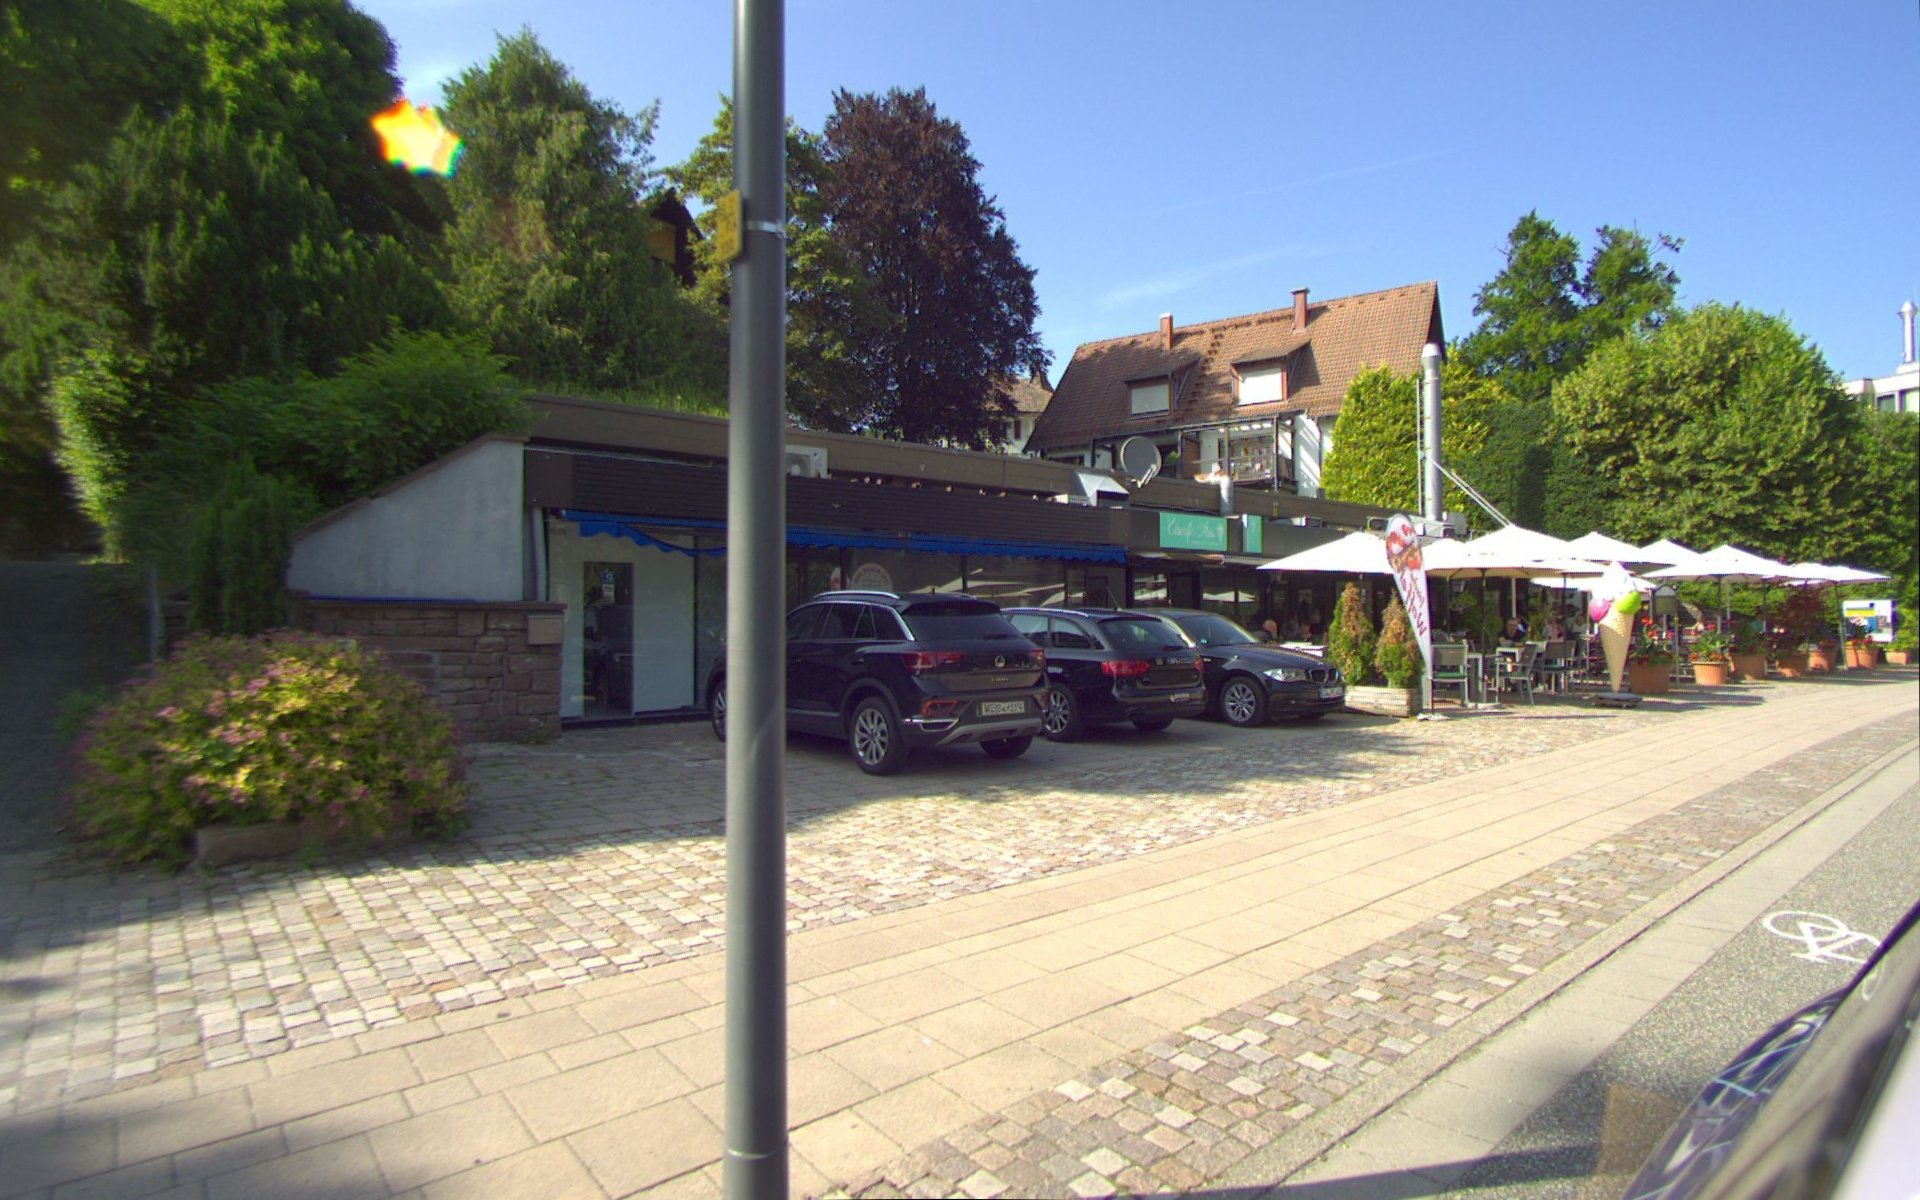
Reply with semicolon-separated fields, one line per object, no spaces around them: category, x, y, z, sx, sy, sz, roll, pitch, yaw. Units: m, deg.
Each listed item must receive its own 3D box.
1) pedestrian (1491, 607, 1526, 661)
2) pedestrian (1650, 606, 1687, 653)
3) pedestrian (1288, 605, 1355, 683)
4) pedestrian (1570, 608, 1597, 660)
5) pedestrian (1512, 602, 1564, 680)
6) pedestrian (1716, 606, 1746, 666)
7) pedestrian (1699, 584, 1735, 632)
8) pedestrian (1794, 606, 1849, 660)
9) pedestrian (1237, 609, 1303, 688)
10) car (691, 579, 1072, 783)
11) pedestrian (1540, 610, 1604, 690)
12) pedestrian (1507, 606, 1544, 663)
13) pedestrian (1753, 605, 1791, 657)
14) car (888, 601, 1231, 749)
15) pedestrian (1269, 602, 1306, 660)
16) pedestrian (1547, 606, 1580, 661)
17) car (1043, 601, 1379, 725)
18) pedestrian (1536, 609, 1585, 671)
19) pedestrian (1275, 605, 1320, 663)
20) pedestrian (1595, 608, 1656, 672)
pedestrian;13.562;0.822;25.024;0.629;1.298;0.578;1;0;14
pedestrian;19.174;0.801;27.375;0.685;1.247;0.509;1;0;-20
pedestrian;6.103;0.727;17.108;0.795;1.277;0.702;0;-1;-13
pedestrian;15.503;0.838;25.181;0.433;1.281;0.469;1;0;-43
pedestrian;10.594;0.731;18.564;0.692;1.399;0.807;0;-1;20
pedestrian;16.574;0.765;21.762;0.470;1.261;0.586;0;1;34
pedestrian;20.181;0.208;26.980;0.585;1.253;0.507;1;0;10
pedestrian;21.443;0.806;25.186;0.634;1.300;0.950;1;0;-41
pedestrian;5.169;0.787;16.899;0.795;1.277;0.702;0;-1;-13
car;-0.928;0.642;9.954;1.719;1.600;3.879;0;-1;-43
pedestrian;10.267;0.820;16.981;0.809;1.277;0.690;0;-1;42
pedestrian;13.510;0.815;24.194;0.629;1.321;0.578;1;0;14
pedestrian;20.855;0.790;26.000;0.634;1.300;0.648;1;0;-41
car;1.002;0.743;12.078;1.717;1.433;4.119;0;0;-38
pedestrian;7.563;0.707;23.360;0.625;1.316;0.687;0;-1;0
pedestrian;14.816;0.801;24.854;0.599;1.321;0.530;1;0;-42
car;3.197;0.724;13.666;1.678;1.396;4.272;0;0;-38
pedestrian;12.716;0.825;21.444;0.690;1.277;0.808;0;0;15
pedestrian;7.298;0.729;21.889;0.686;1.224;0.688;0;0;-8
pedestrian;13.723;0.813;20.878;0.686;1.277;0.814;0;0;-21
